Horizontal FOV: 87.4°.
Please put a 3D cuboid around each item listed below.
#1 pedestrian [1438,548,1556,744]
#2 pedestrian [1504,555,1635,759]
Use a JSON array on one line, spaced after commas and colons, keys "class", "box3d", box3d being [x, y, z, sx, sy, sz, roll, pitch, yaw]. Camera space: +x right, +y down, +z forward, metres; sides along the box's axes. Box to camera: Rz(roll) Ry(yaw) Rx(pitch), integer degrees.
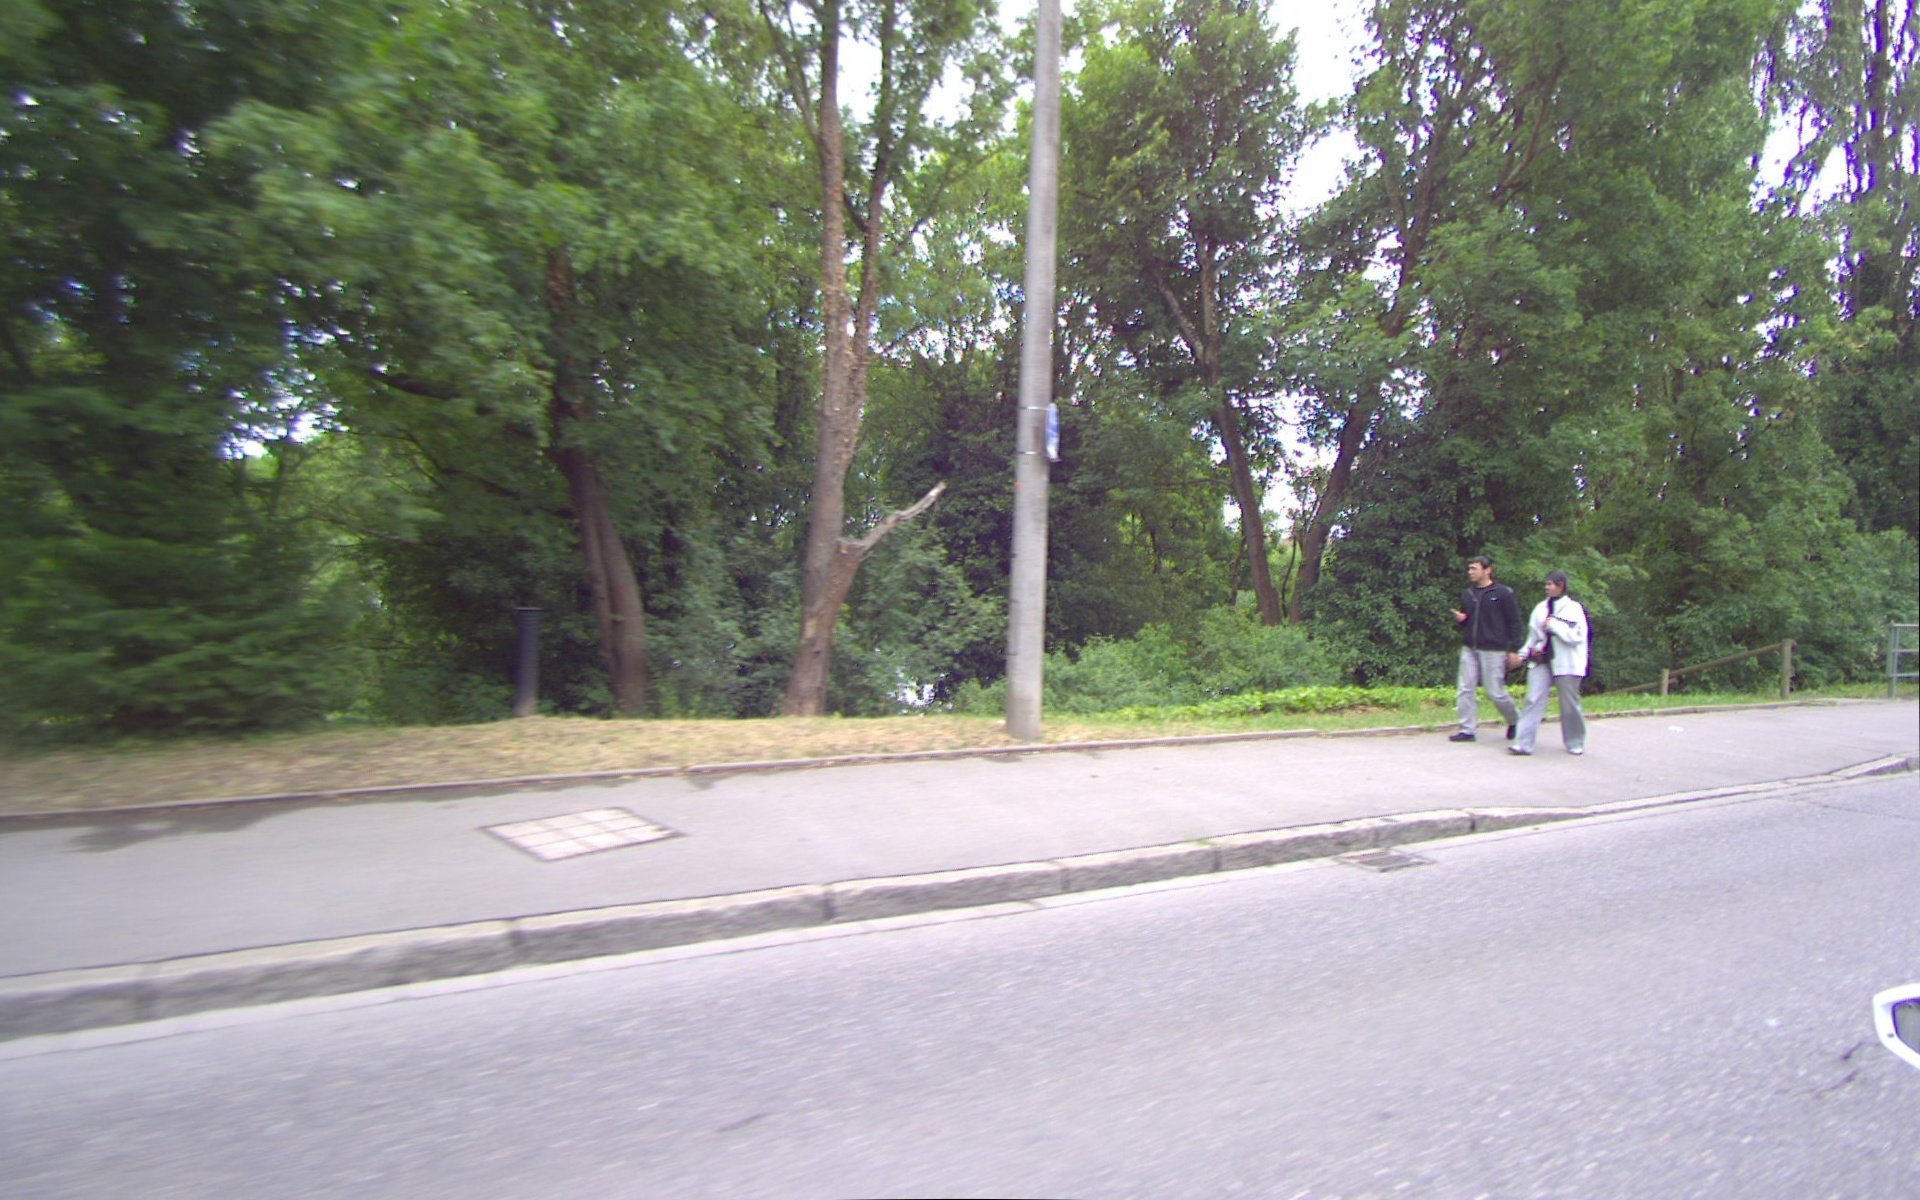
[{"class": "pedestrian", "box3d": [5.257, 0.428, 9.839, 0.813, 1.828, 0.584, 0, 4, -30]}, {"class": "pedestrian", "box3d": [5.671, 0.505, 9.356, 0.848, 1.789, 0.548, 0, 6, -31]}]
